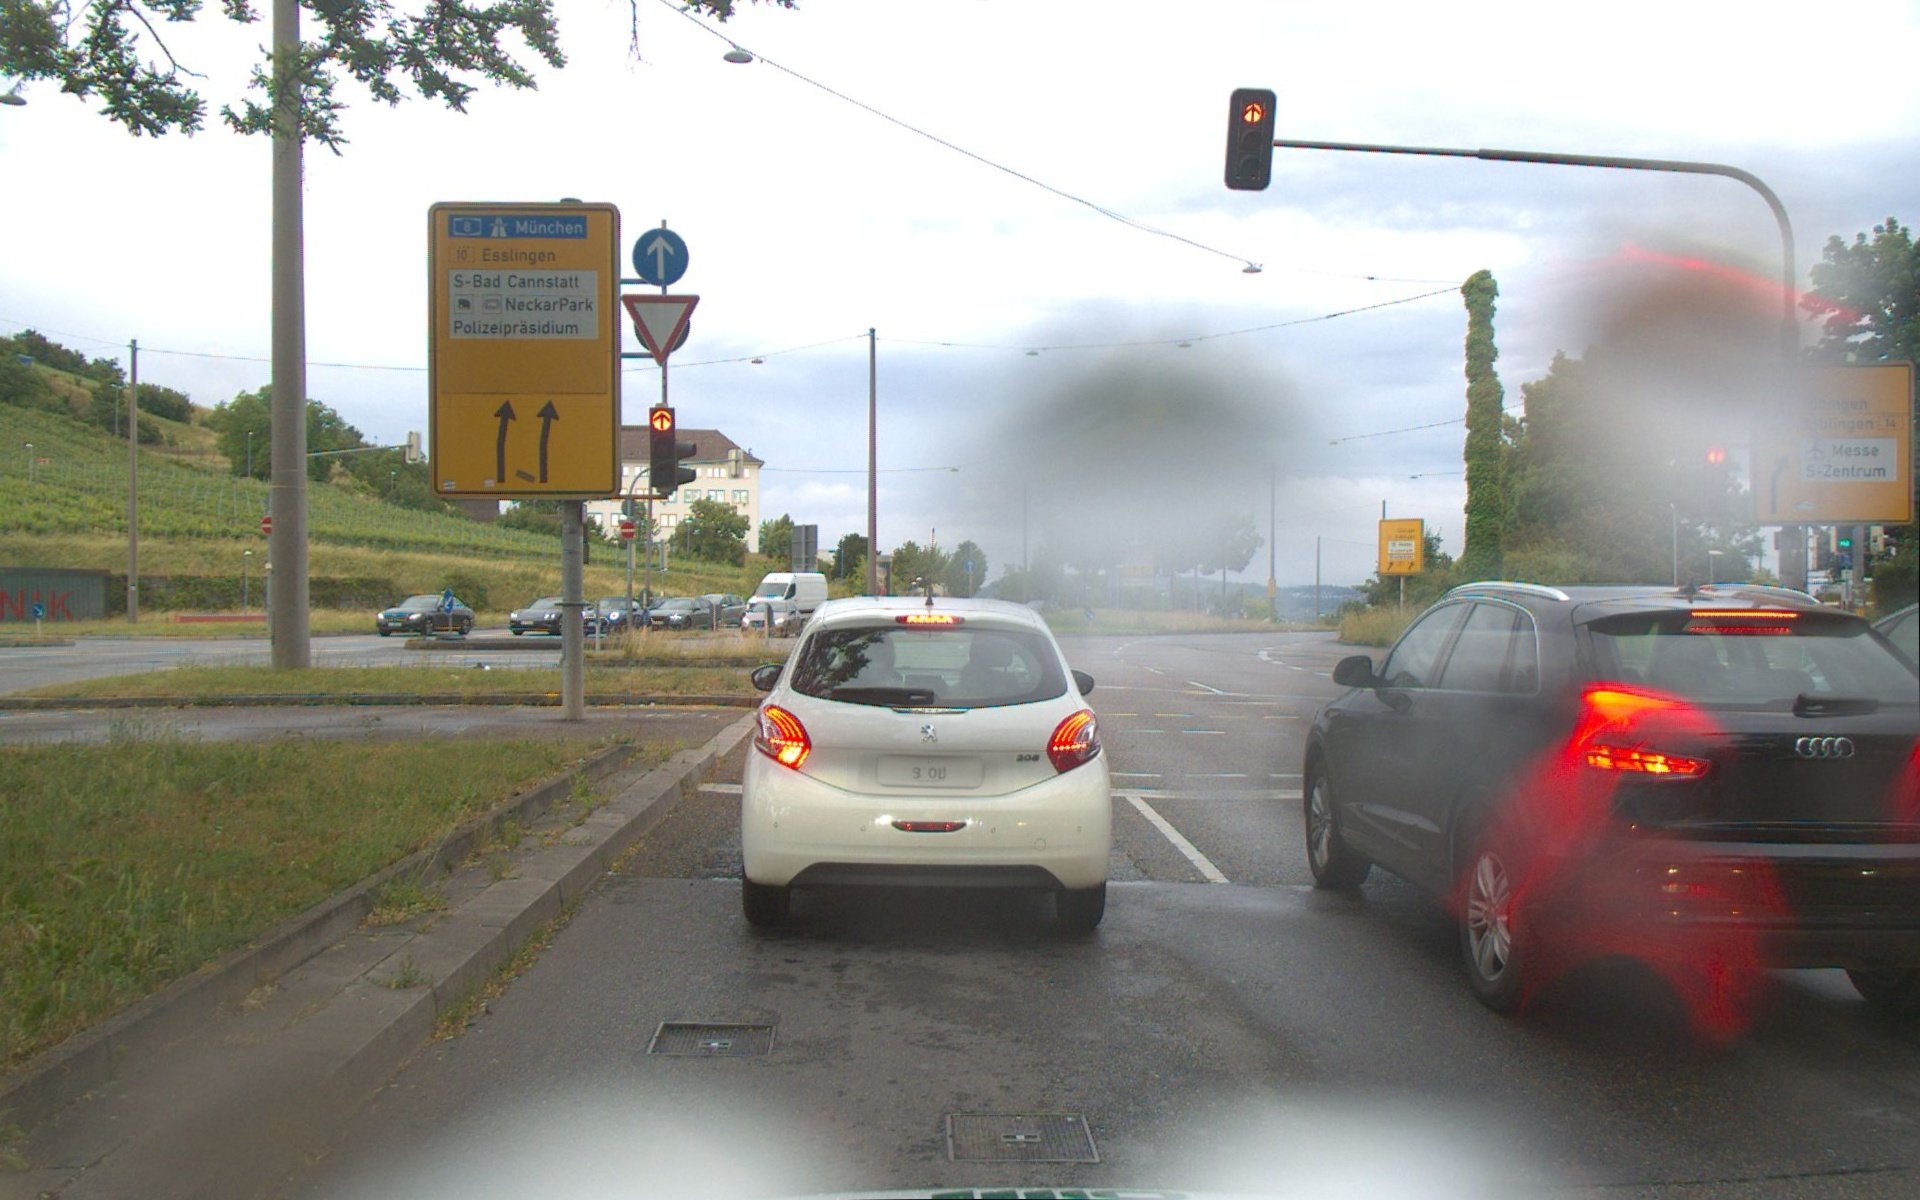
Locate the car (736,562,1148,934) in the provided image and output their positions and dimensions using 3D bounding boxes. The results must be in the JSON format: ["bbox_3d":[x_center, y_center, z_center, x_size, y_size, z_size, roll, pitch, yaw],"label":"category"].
[{"bbox_3d":[-0.124,0.627,8.851,1.683,1.515,3.998,1,0,-2],"label":"car"}]

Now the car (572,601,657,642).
[{"bbox_3d":[-12.616,0.800,60.626,1.748,1.420,3.885,1,-1,9],"label":"car"}]

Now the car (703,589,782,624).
[{"bbox_3d":[-10.499,0.331,80.084,1.953,1.603,4.195,2,-1,21],"label":"car"}]

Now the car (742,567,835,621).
[{"bbox_3d":[-8.890,-0.286,86.310,1.954,2.604,6.166,2,-1,24],"label":"car"}]

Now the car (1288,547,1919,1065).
[{"bbox_3d":[2.855,0.687,7.368,1.846,1.623,4.112,2,0,-1],"label":"car"}]

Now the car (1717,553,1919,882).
[{"bbox_3d":[5.906,0.628,8.453,1.827,1.703,4.563,1,1,-2],"label":"car"}]

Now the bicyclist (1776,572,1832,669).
[{"bbox_3d":[14.501,0.360,28.429,0.793,1.611,1.022,2,-1,26],"label":"bicyclist"}]

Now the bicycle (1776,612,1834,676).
[{"bbox_3d":[14.490,0.739,28.406,0.792,1.040,2.326,-1,-1,25],"label":"bicycle"}]

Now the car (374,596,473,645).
[{"bbox_3d":[-19.571,0.746,60.520,1.791,1.652,4.568,2,0,4],"label":"car"}]

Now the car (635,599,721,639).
[{"bbox_3d":[-11.487,0.781,67.639,1.860,1.515,4.896,2,0,10],"label":"car"}]

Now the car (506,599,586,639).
[{"bbox_3d":[-15.706,0.733,62.912,1.749,1.420,3.883,1,-1,4],"label":"car"}]

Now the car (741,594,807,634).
[{"bbox_3d":[-7.101,0.545,63.446,1.738,1.450,4.376,0,-1,4],"label":"car"}]
